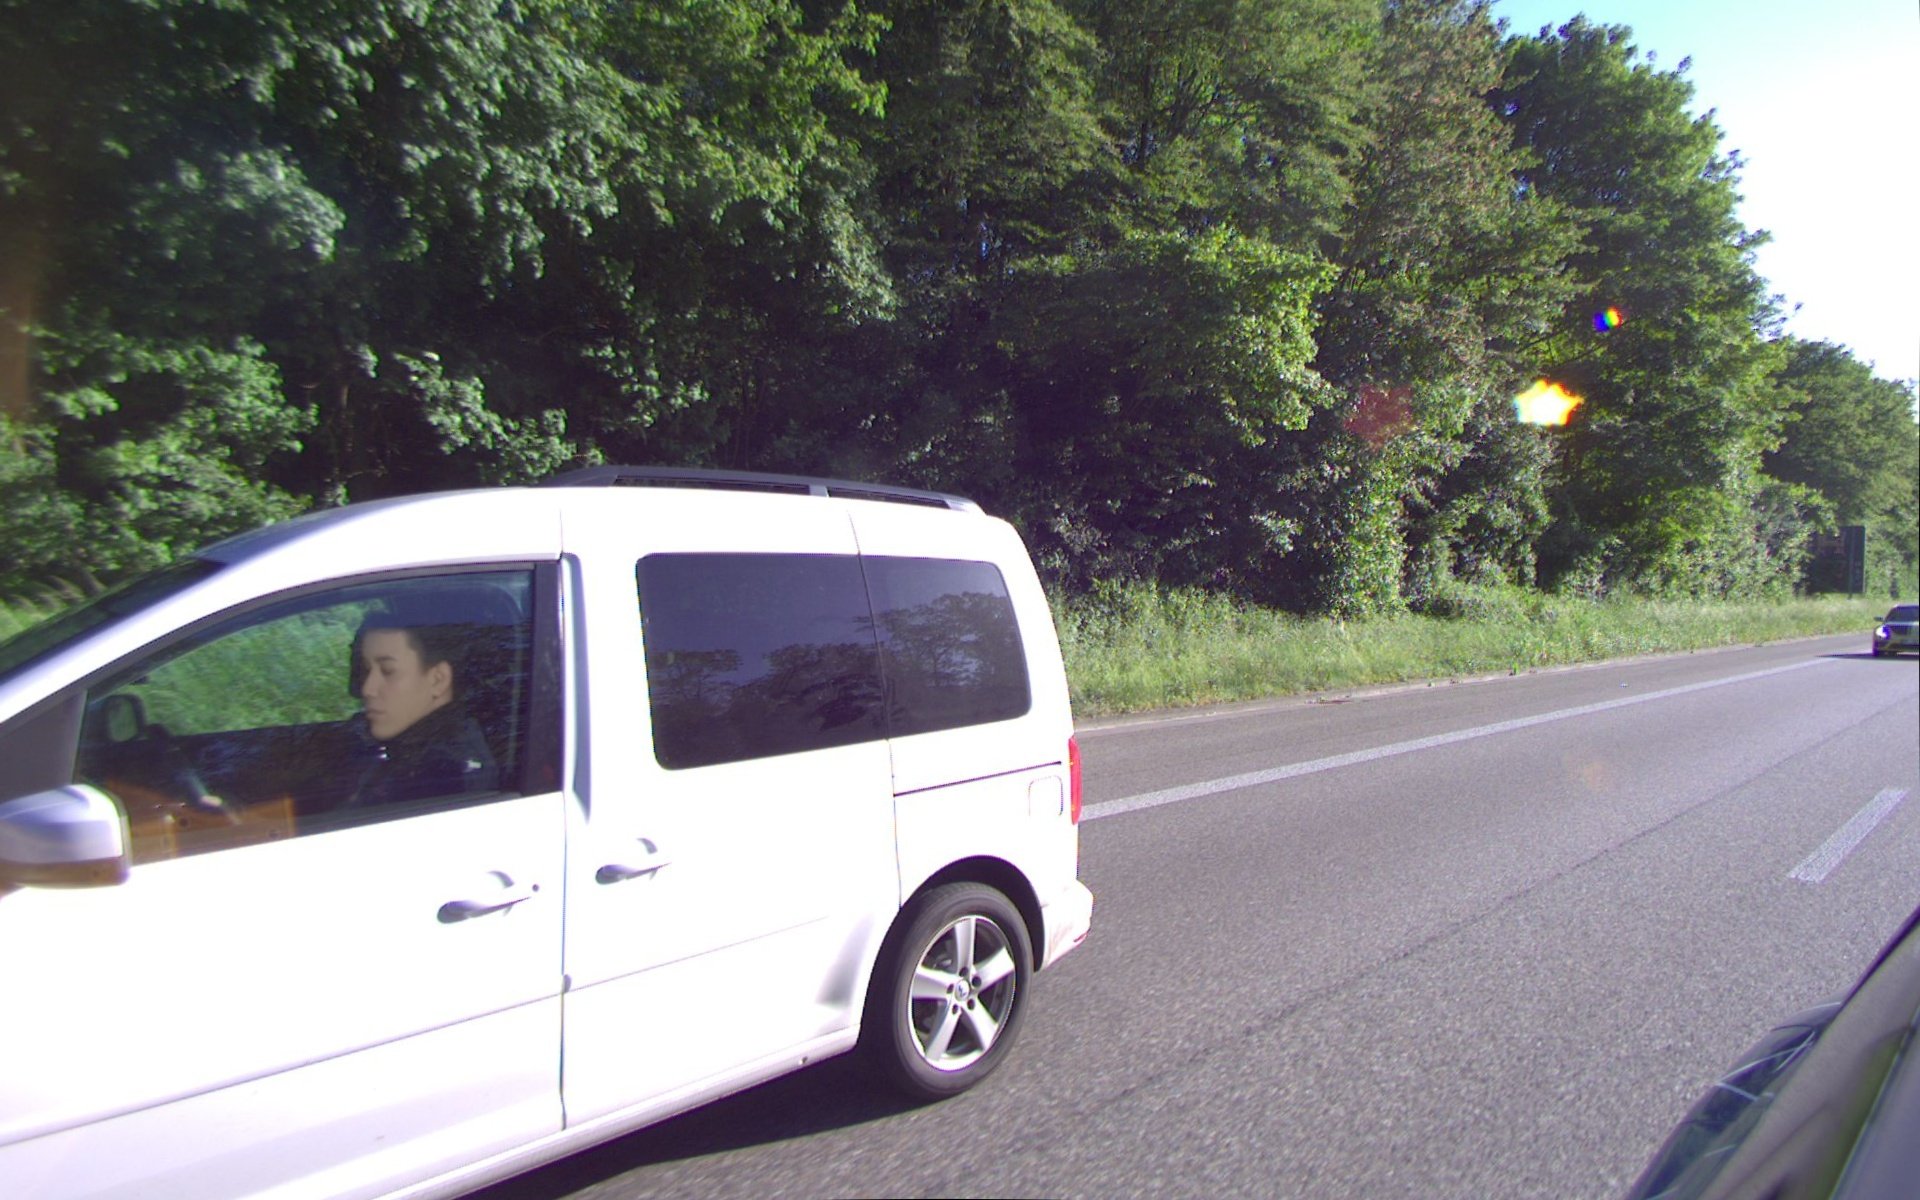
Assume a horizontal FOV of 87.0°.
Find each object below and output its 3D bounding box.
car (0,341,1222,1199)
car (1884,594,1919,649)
[{"bbox_3d":[-1.282,0.488,3.025,4.508,1.836,1.801,-1,1,-42],"label":"car"},{"bbox_3d":[26.915,0.567,27.895,3.811,1.467,1.792,0,0,-42],"label":"car"}]
